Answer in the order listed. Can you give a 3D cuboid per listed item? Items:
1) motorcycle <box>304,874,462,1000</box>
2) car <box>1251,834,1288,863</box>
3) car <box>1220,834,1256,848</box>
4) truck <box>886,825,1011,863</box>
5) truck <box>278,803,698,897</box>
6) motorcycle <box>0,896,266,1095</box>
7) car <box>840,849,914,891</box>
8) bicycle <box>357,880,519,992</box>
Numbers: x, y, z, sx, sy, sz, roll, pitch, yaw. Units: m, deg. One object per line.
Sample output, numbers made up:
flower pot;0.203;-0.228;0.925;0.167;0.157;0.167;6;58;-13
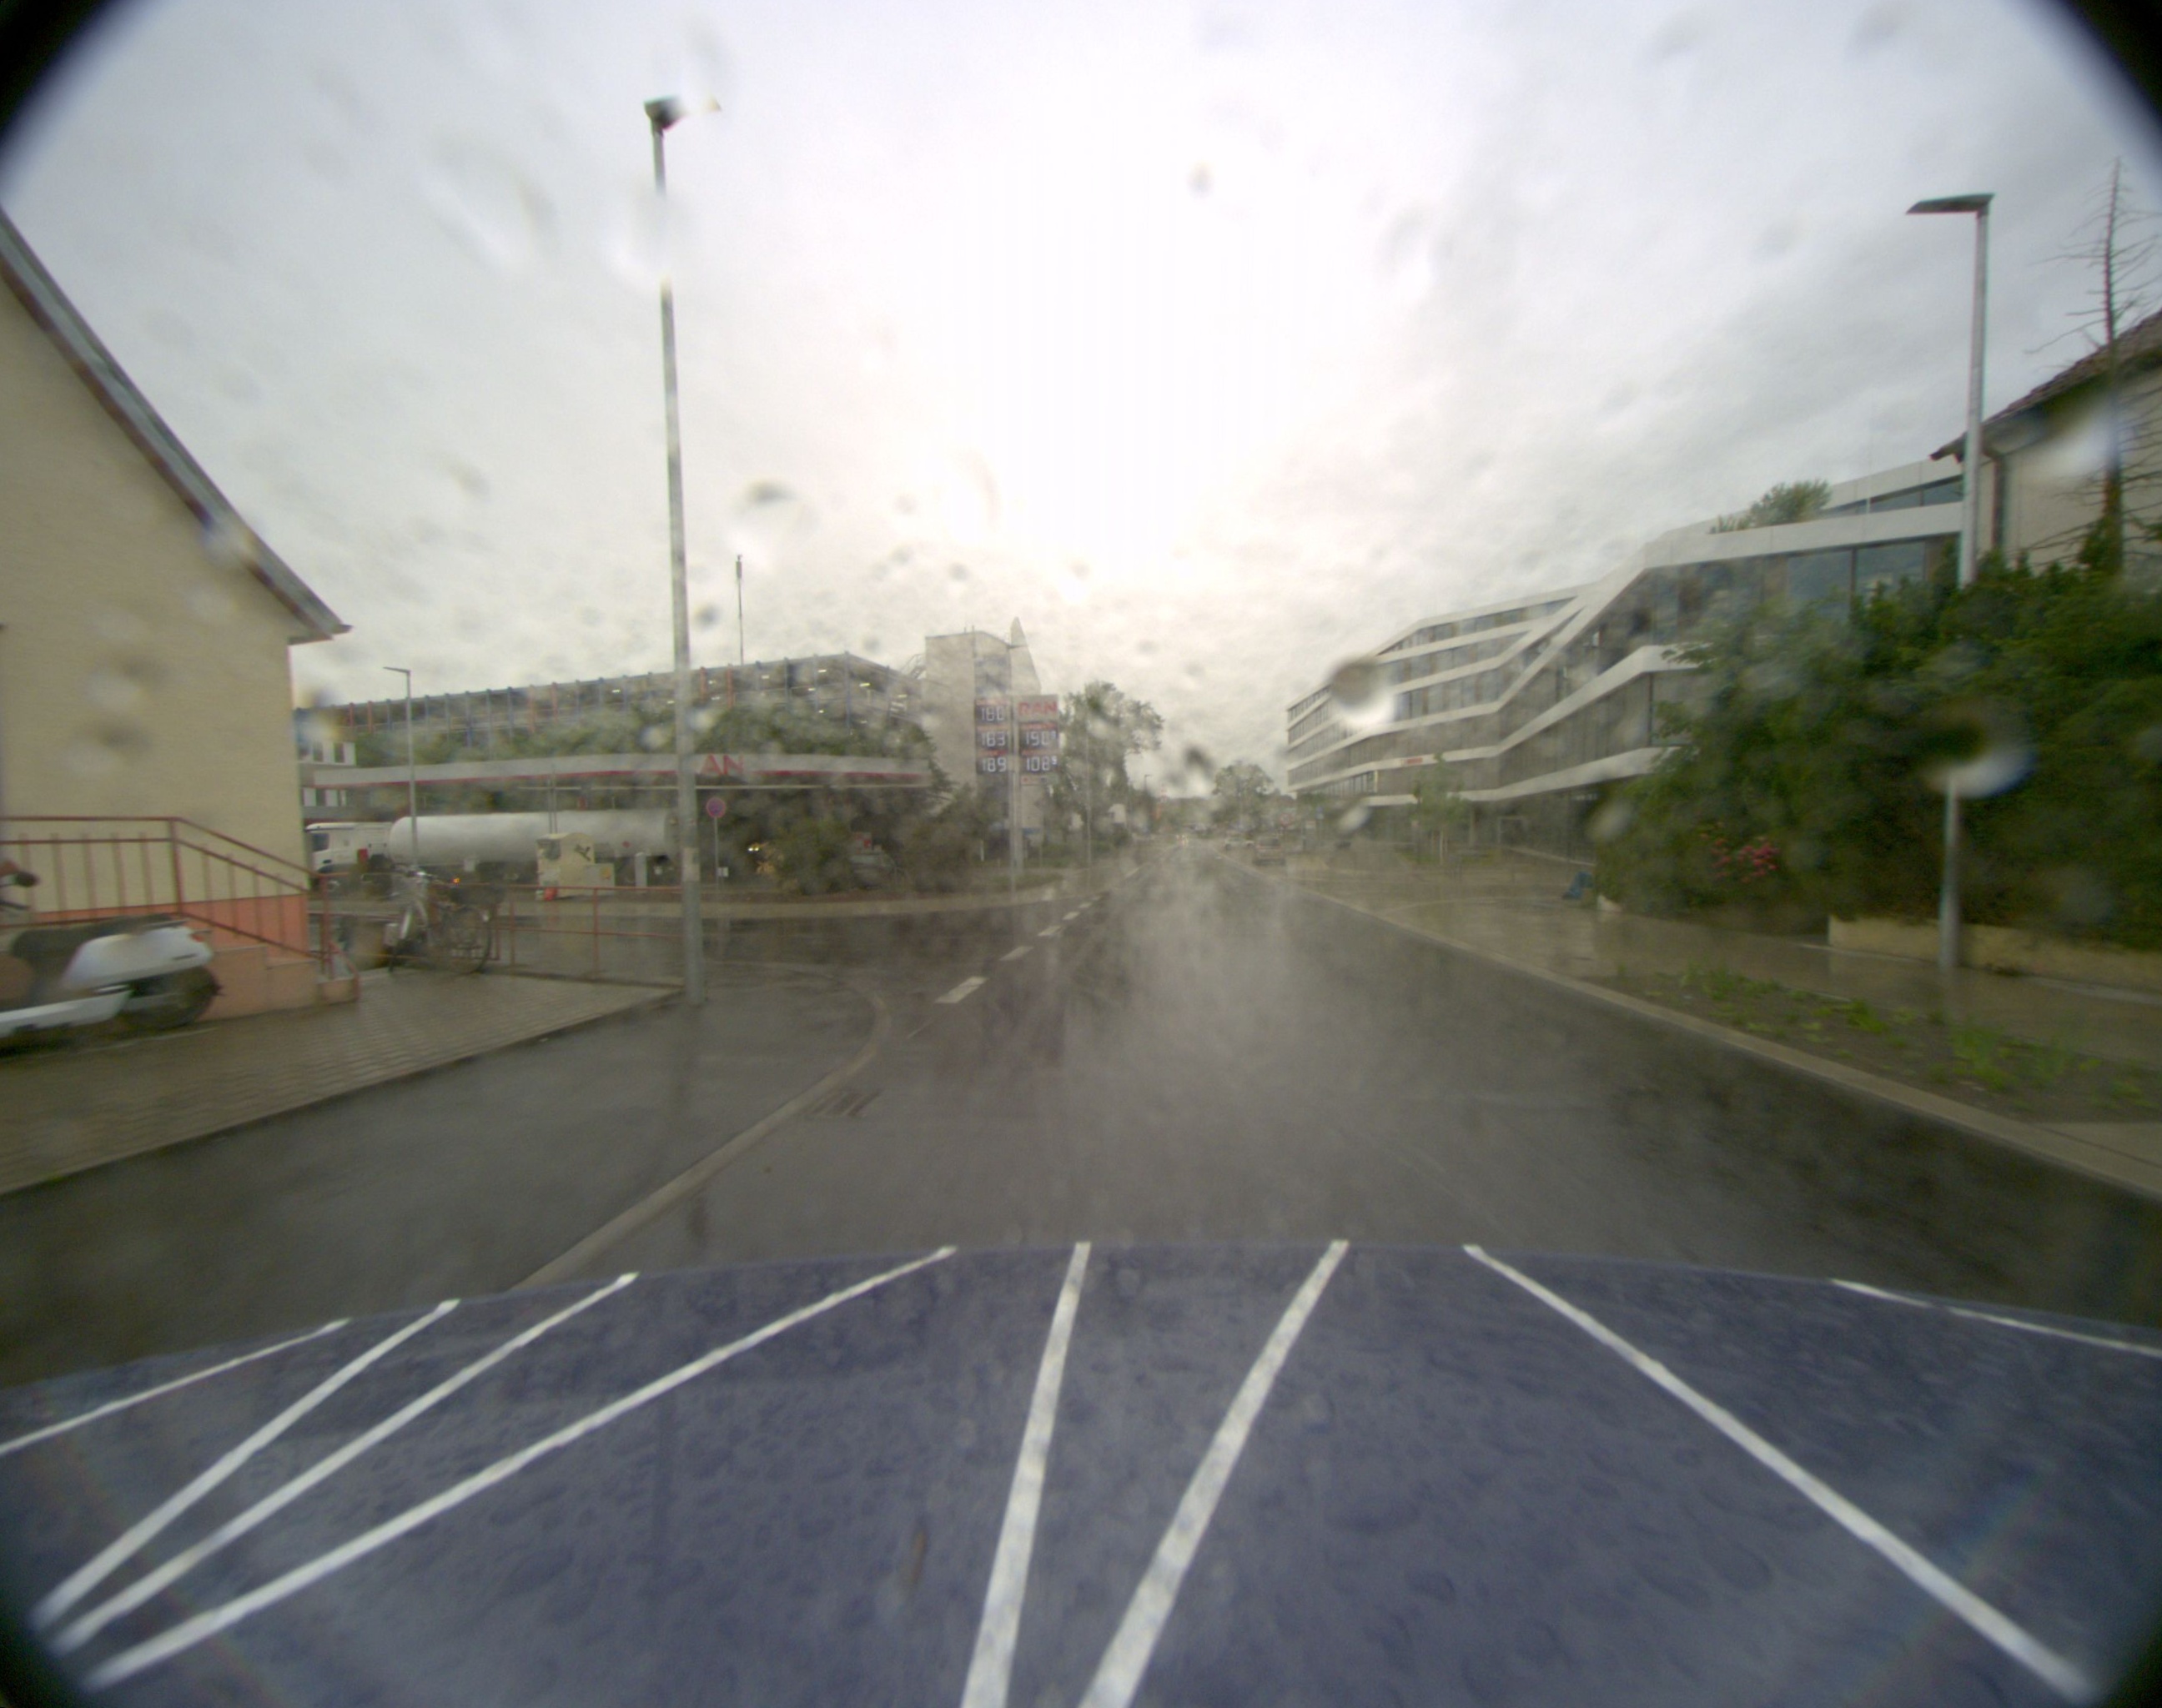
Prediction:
motorcycle;-8.673;0.990;9.428;2.035;1.448;0.490;-1;2;20
car;11.657;-0.388;47.087;1.840;1.696;4.325;-1;2;9
car;19.019;-1.611;92.031;4.164;1.411;2.001;-3;1;12
truck;-8.119;-0.578;47.066;7.293;2.193;2.086;1;-1;2
truck;-24.300;-0.196;31.990;14.413;3.339;2.646;-2;0;-9
motorcycle;-6.566;0.879;4.759;0.488;1.089;2.002;-1;1;11
car;-7.473;0.521;28.235;1.693;1.332;4.337;-1;2;-2
bicycle;-6.842;0.841;8.069;1.772;1.089;0.490;-1;1;21
